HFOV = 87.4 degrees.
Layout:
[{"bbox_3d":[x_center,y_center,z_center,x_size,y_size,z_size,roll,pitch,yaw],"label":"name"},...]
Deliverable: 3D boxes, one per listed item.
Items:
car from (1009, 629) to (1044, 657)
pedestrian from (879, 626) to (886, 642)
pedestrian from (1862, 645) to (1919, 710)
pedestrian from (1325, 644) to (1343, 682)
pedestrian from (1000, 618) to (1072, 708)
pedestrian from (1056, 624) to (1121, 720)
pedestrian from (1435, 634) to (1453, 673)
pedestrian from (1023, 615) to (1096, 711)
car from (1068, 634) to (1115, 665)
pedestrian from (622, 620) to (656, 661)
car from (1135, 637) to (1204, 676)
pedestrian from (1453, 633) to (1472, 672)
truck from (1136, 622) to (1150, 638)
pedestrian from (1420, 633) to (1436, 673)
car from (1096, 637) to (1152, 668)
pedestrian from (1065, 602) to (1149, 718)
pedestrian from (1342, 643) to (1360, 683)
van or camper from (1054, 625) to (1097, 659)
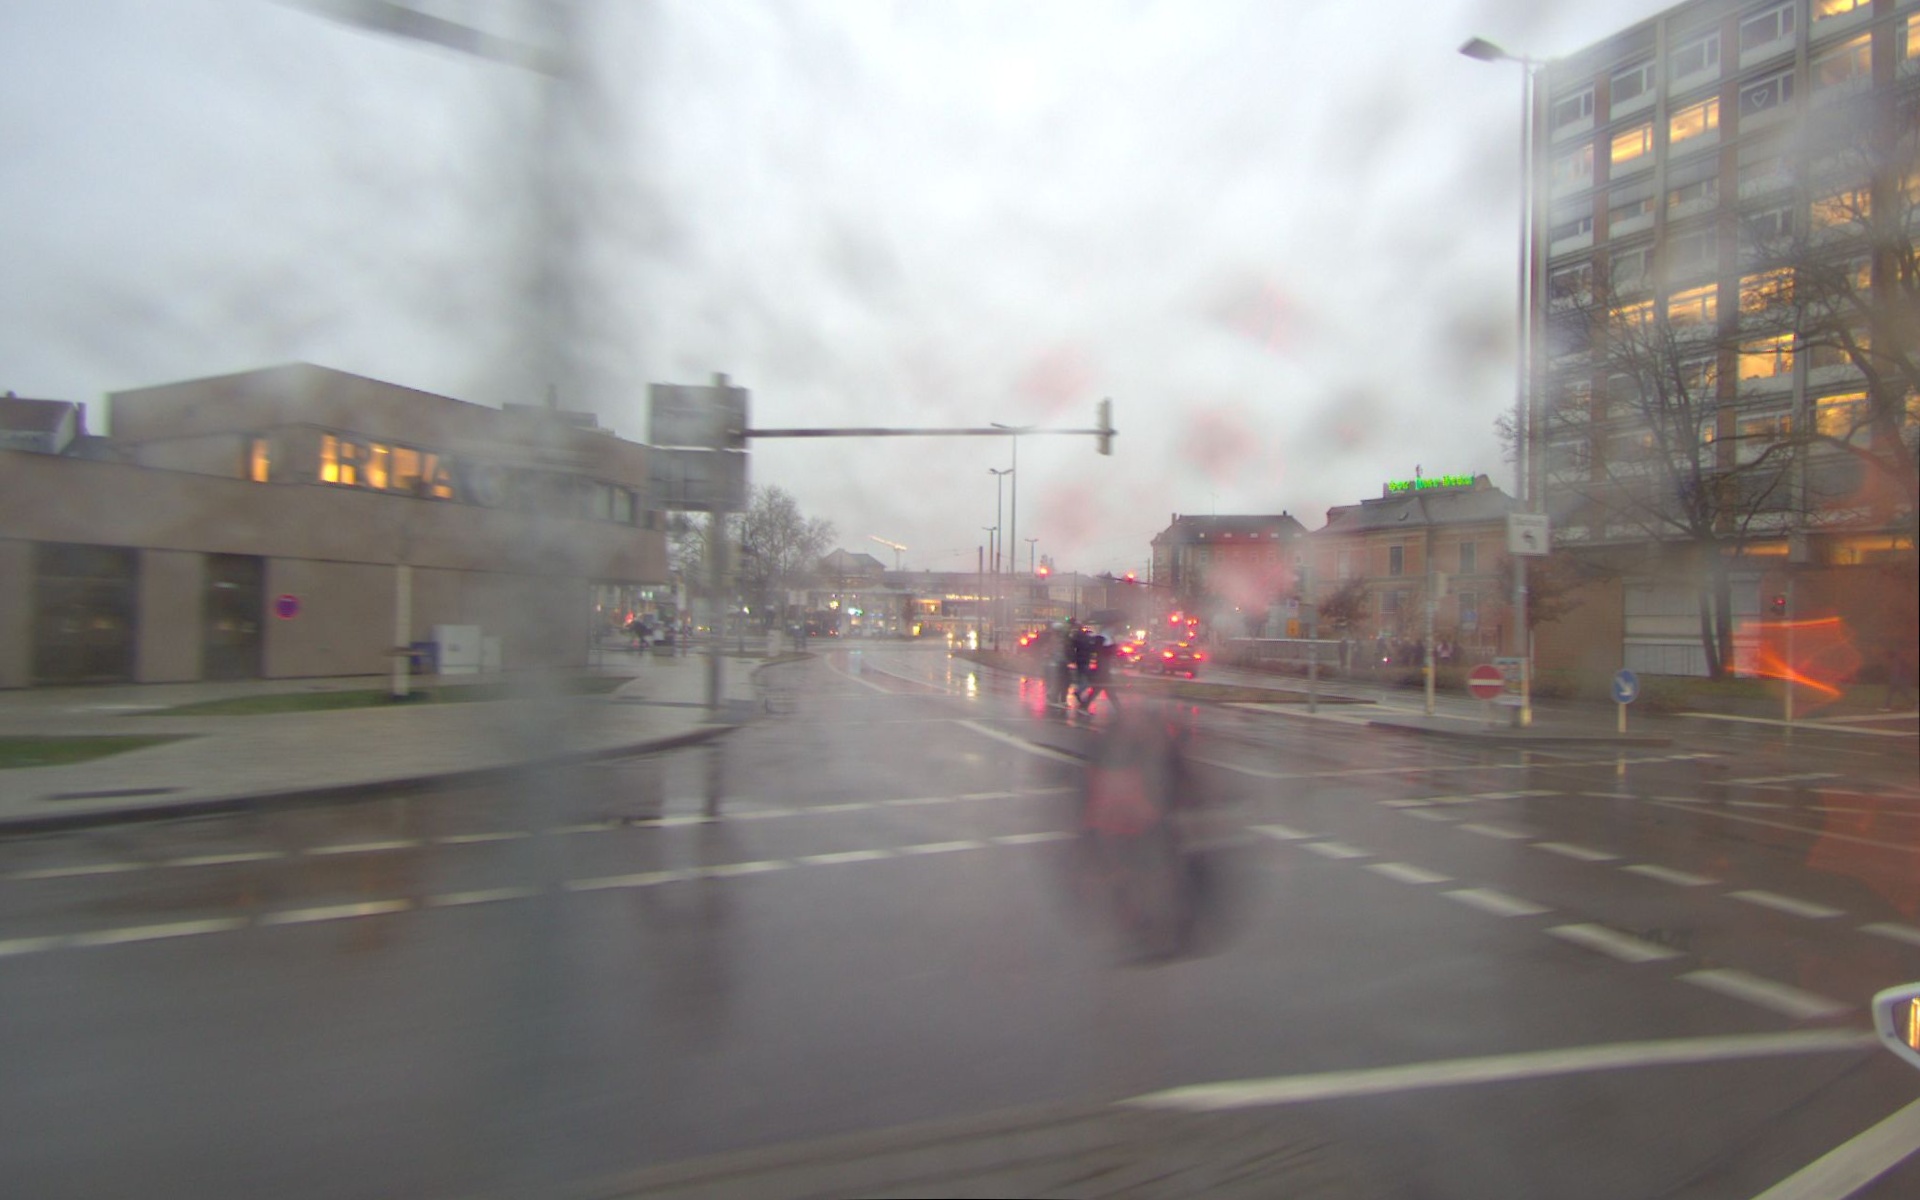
[{"bbox_3d":[4.528,2.913,68.915,1.855,1.795,3.998,2,-2,-4],"label":"car"},{"bbox_3d":[-9.155,4.007,118.268,0.818,1.844,0.696,0,-1,-2],"label":"pedestrian"},{"bbox_3d":[25.405,2.083,27.259,0.795,1.710,1.069,0,-1,-9],"label":"pedestrian"},{"bbox_3d":[20.033,3.360,53.775,0.794,1.956,0.760,2,1,22],"label":"pedestrian"},{"bbox_3d":[1.697,1.385,22.540,1.024,1.883,1.223,1,1,-33],"label":"pedestrian"},{"bbox_3d":[2.846,1.562,22.271,1.098,2.032,0.840,1,1,-34],"label":"pedestrian"},{"bbox_3d":[21.915,2.411,45.516,0.657,1.710,0.611,-1,0,22],"label":"pedestrian"},{"bbox_3d":[2.073,1.277,20.889,1.027,1.883,1.057,1,1,-42],"label":"pedestrian"},{"bbox_3d":[7.584,2.853,58.247,1.757,1.621,4.539,4,-2,-4],"label":"car"},{"bbox_3d":[-15.322,1.911,47.923,1.043,1.944,1.122,0,-1,29],"label":"pedestrian"},{"bbox_3d":[9.238,2.477,44.592,1.675,1.501,3.866,4,-2,-9],"label":"car"},{"bbox_3d":[22.632,2.368,45.260,0.706,1.710,0.760,0,-2,21],"label":"pedestrian"},{"bbox_3d":[32.007,5.301,175.910,1.960,2.727,5.118,0,-2,15],"label":"truck"},{"bbox_3d":[21.332,2.420,45.782,0.574,1.805,0.769,-1,-2,22],"label":"pedestrian"},{"bbox_3d":[8.323,2.656,51.343,1.634,1.422,4.115,3,-2,-7],"label":"car"},{"bbox_3d":[2.728,1.096,18.766,1.194,2.077,1.032,2,1,-13],"label":"pedestrian"},{"bbox_3d":[20.816,3.359,53.462,0.794,2.041,0.760,2,1,22],"label":"pedestrian"},{"bbox_3d":[7.696,2.797,67.284,2.166,2.137,4.987,2,-2,-1],"label":"van or camper"}]
